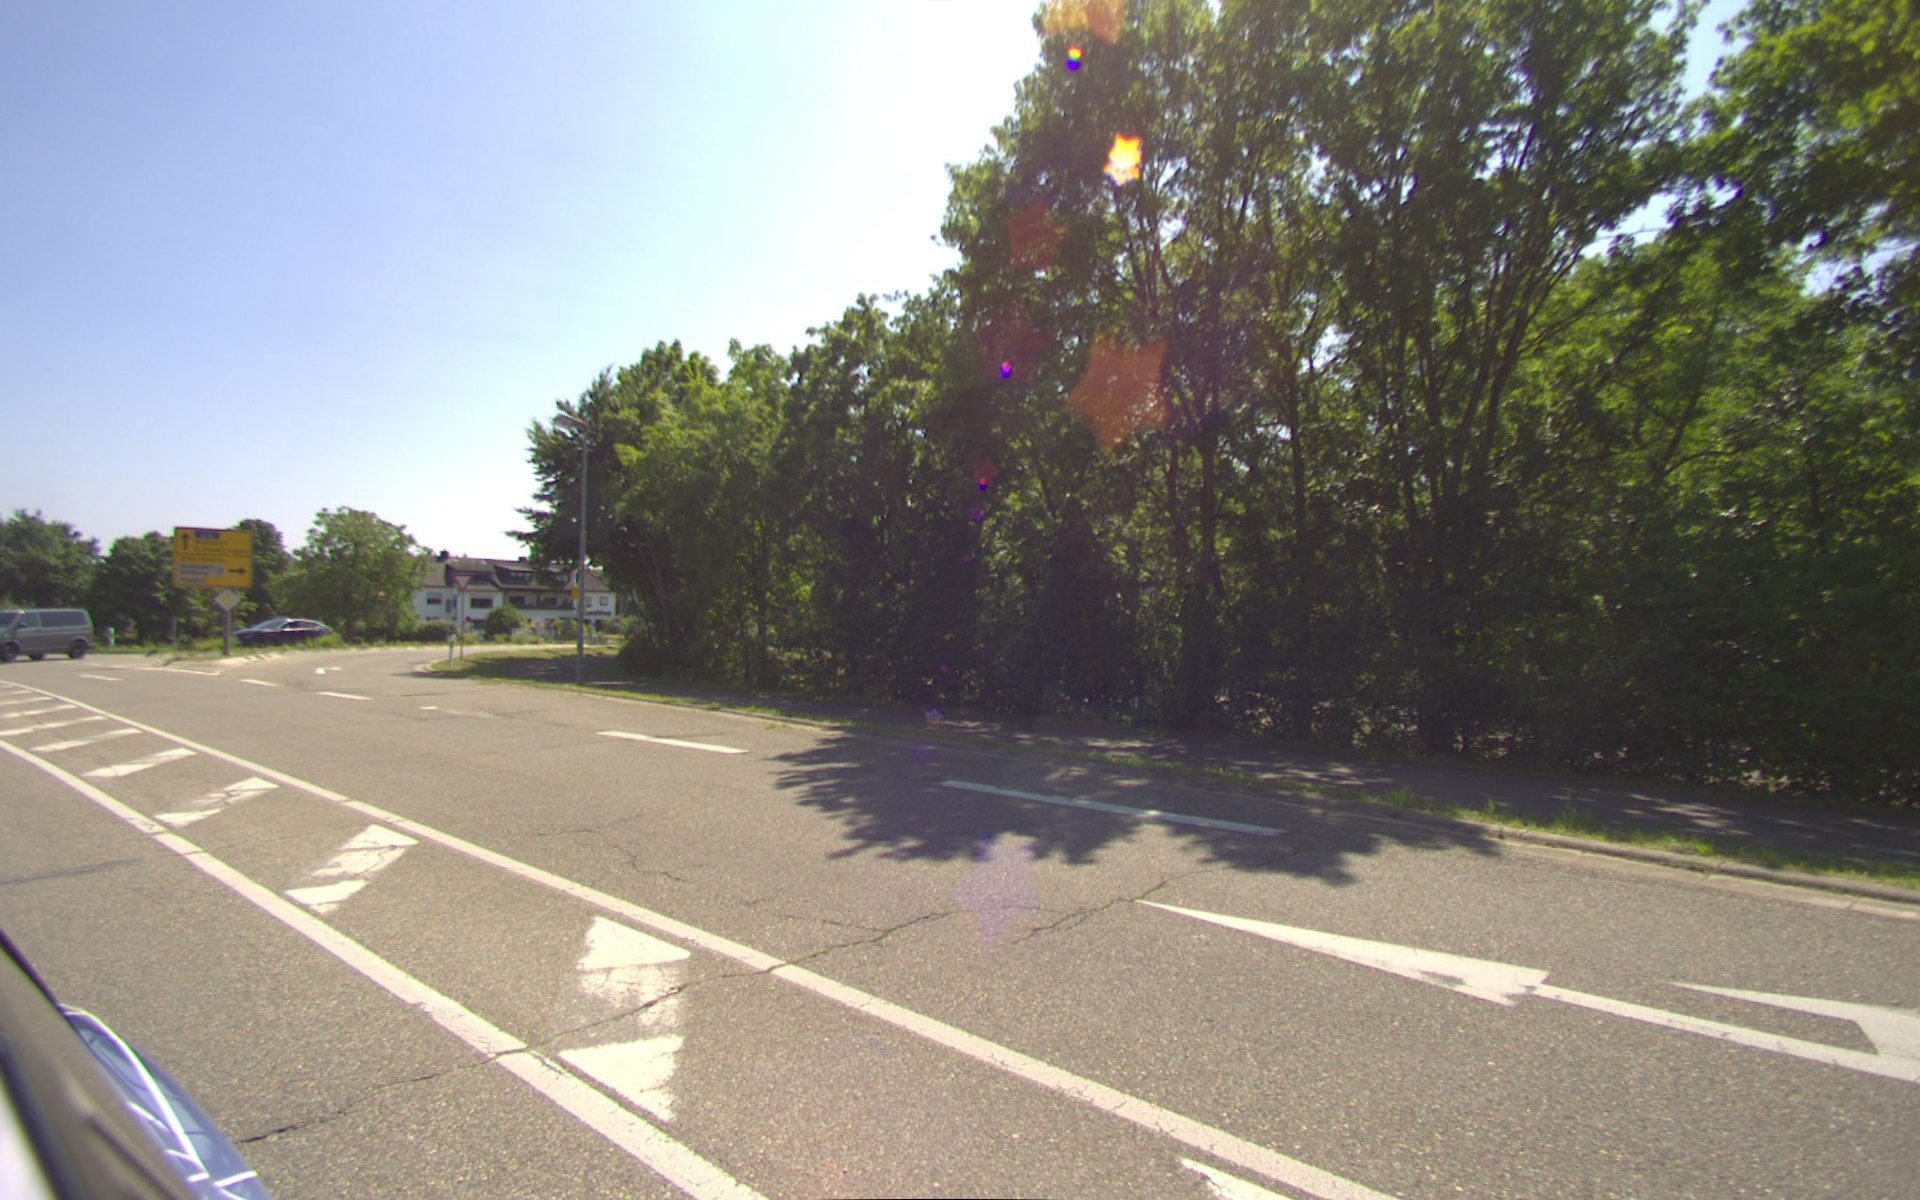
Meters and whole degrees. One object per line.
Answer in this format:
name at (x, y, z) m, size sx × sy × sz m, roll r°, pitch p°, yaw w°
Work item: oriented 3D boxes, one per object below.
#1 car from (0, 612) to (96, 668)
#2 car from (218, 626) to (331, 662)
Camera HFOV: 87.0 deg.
car at (-35.771, 1.510, 38.347) m, size 1.972 × 2.029 × 4.764 m, roll -1°, pitch -2°, yaw 0°
car at (-33.161, 2.110, 49.096) m, size 1.736 × 1.658 × 4.346 m, roll -2°, pitch -2°, yaw 21°
